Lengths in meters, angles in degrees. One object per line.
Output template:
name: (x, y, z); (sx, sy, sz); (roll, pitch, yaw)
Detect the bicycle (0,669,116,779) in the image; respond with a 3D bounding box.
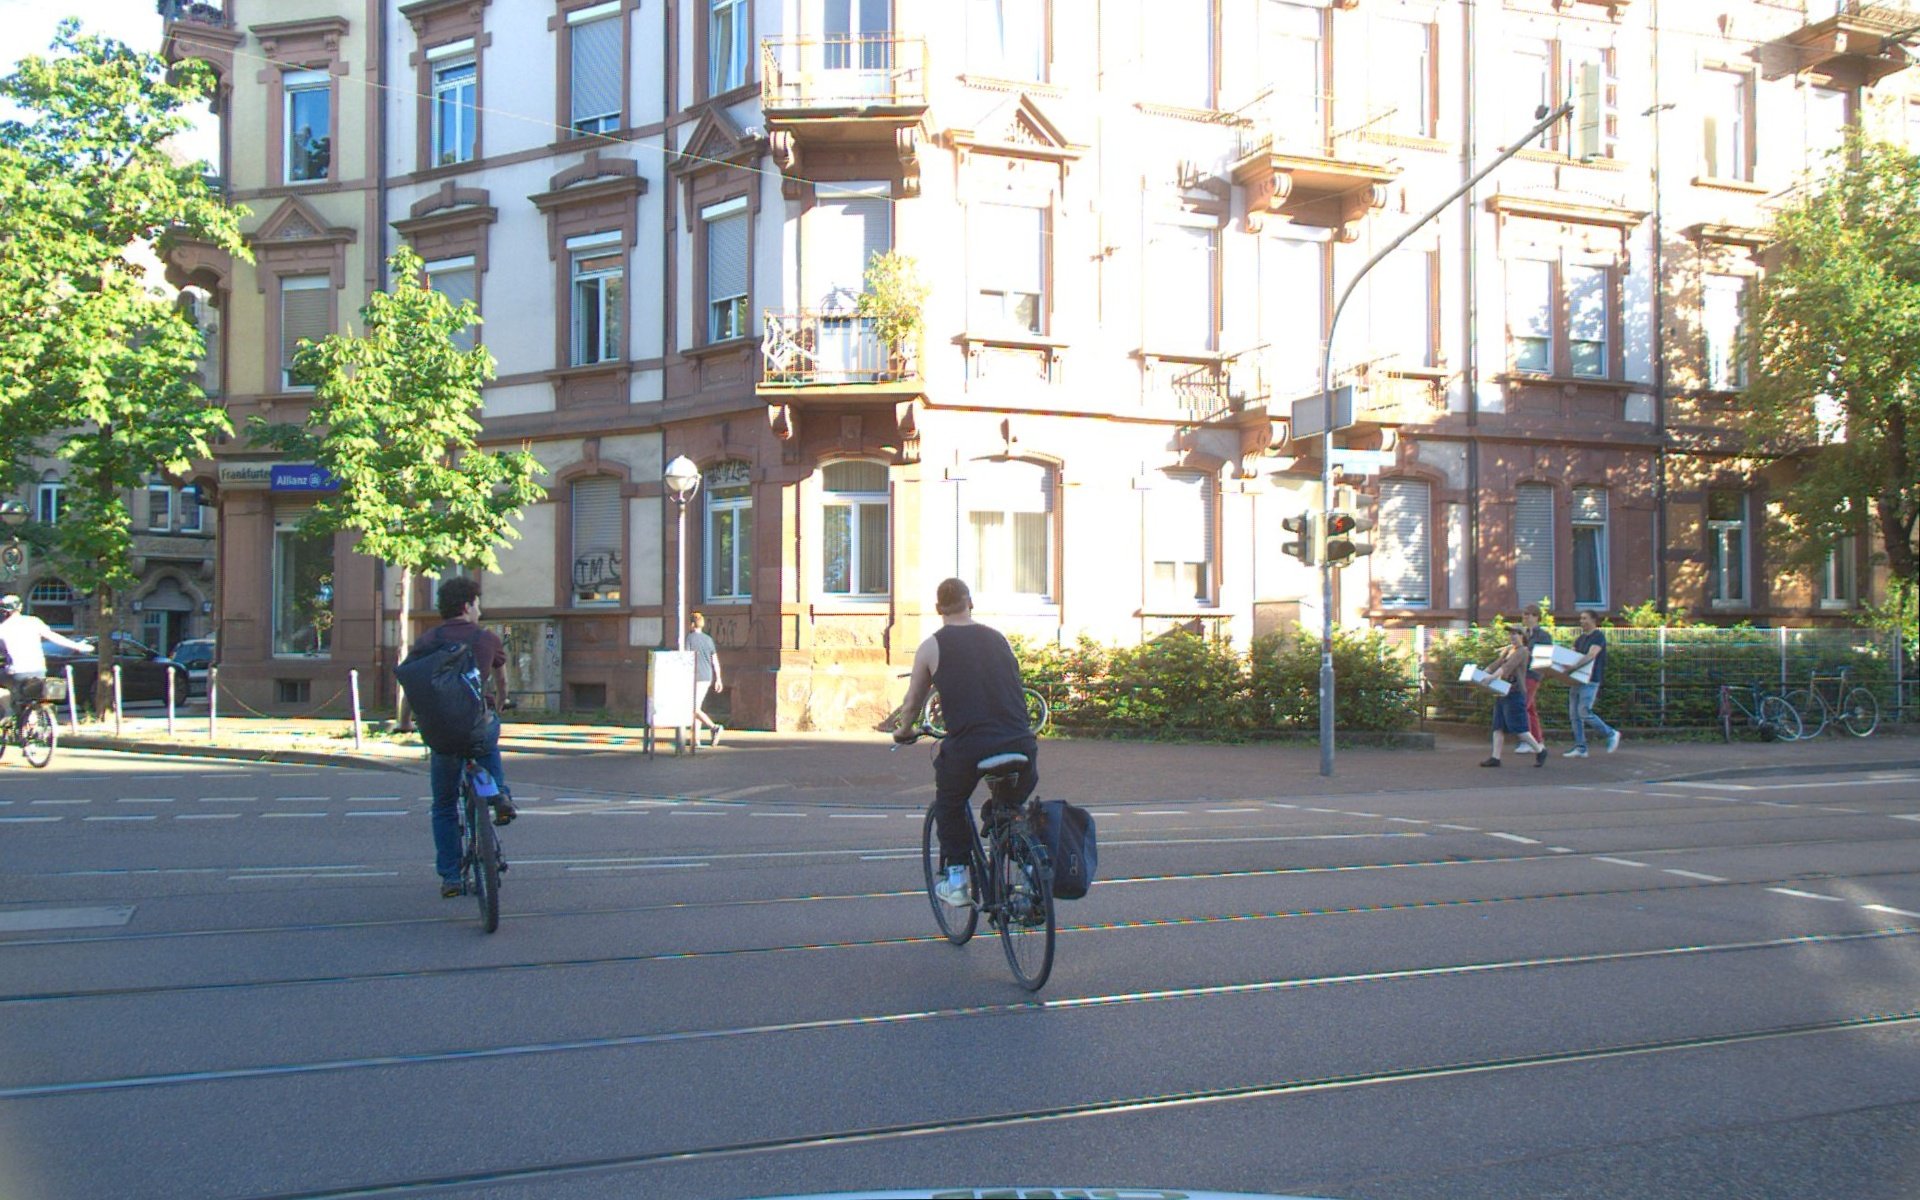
bicycle: (-10.921, 1.421, 19.189); (2.174, 1.205, 0.812); (-2, -2, 23)

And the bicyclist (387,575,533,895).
bicyclist: (-2.652, 0.686, 8.848); (0.695, 1.601, 0.953); (0, -2, -15)

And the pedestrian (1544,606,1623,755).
pedestrian: (7.535, 0.962, 20.001); (0.622, 1.745, 0.663); (1, 0, -7)

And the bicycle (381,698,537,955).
bicycle: (-2.624, 1.126, 8.820); (0.705, 1.127, 1.959); (0, -1, -14)

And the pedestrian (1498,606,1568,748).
pedestrian: (7.161, 0.953, 20.677); (0.622, 1.745, 0.520); (-1, -2, -8)

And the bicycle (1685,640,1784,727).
bicycle: (10.524, 1.123, 22.477); (1.209, 1.127, 0.441); (-1, -1, -15)

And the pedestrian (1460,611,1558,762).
pedestrian: (6.410, 0.989, 19.331); (0.877, 1.694, 0.712); (-1, 1, -4)

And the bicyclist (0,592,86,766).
bicyclist: (-10.794, 0.904, 19.141); (0.923, 1.947, 0.796); (-1, -2, 23)

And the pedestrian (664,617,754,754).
pedestrian: (-3.185, 1.064, 21.010); (0.887, 1.663, 0.722); (0, 0, 38)

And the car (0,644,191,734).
car: (-17.481, 1.735, 33.218); (1.754, 1.639, 4.371); (-1, -1, 4)

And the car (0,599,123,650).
car: (-31.374, 0.857, 57.167); (3.903, 1.676, 1.879); (-1, -1, 3)

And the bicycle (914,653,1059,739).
bicycle: (0.356, 1.293, 22.513); (1.918, 1.127, 0.443); (0, -1, 13)

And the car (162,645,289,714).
car: (-17.057, 1.821, 38.532); (1.470, 1.483, 3.207); (-1, -1, 1)

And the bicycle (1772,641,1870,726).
bicycle: (11.879, 1.140, 22.818); (1.209, 1.127, 0.441); (-1, -1, -15)

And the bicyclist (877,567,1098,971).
bicyclist: (0.099, 0.728, 7.547); (0.676, 1.685, 0.984); (-1, -3, -18)
